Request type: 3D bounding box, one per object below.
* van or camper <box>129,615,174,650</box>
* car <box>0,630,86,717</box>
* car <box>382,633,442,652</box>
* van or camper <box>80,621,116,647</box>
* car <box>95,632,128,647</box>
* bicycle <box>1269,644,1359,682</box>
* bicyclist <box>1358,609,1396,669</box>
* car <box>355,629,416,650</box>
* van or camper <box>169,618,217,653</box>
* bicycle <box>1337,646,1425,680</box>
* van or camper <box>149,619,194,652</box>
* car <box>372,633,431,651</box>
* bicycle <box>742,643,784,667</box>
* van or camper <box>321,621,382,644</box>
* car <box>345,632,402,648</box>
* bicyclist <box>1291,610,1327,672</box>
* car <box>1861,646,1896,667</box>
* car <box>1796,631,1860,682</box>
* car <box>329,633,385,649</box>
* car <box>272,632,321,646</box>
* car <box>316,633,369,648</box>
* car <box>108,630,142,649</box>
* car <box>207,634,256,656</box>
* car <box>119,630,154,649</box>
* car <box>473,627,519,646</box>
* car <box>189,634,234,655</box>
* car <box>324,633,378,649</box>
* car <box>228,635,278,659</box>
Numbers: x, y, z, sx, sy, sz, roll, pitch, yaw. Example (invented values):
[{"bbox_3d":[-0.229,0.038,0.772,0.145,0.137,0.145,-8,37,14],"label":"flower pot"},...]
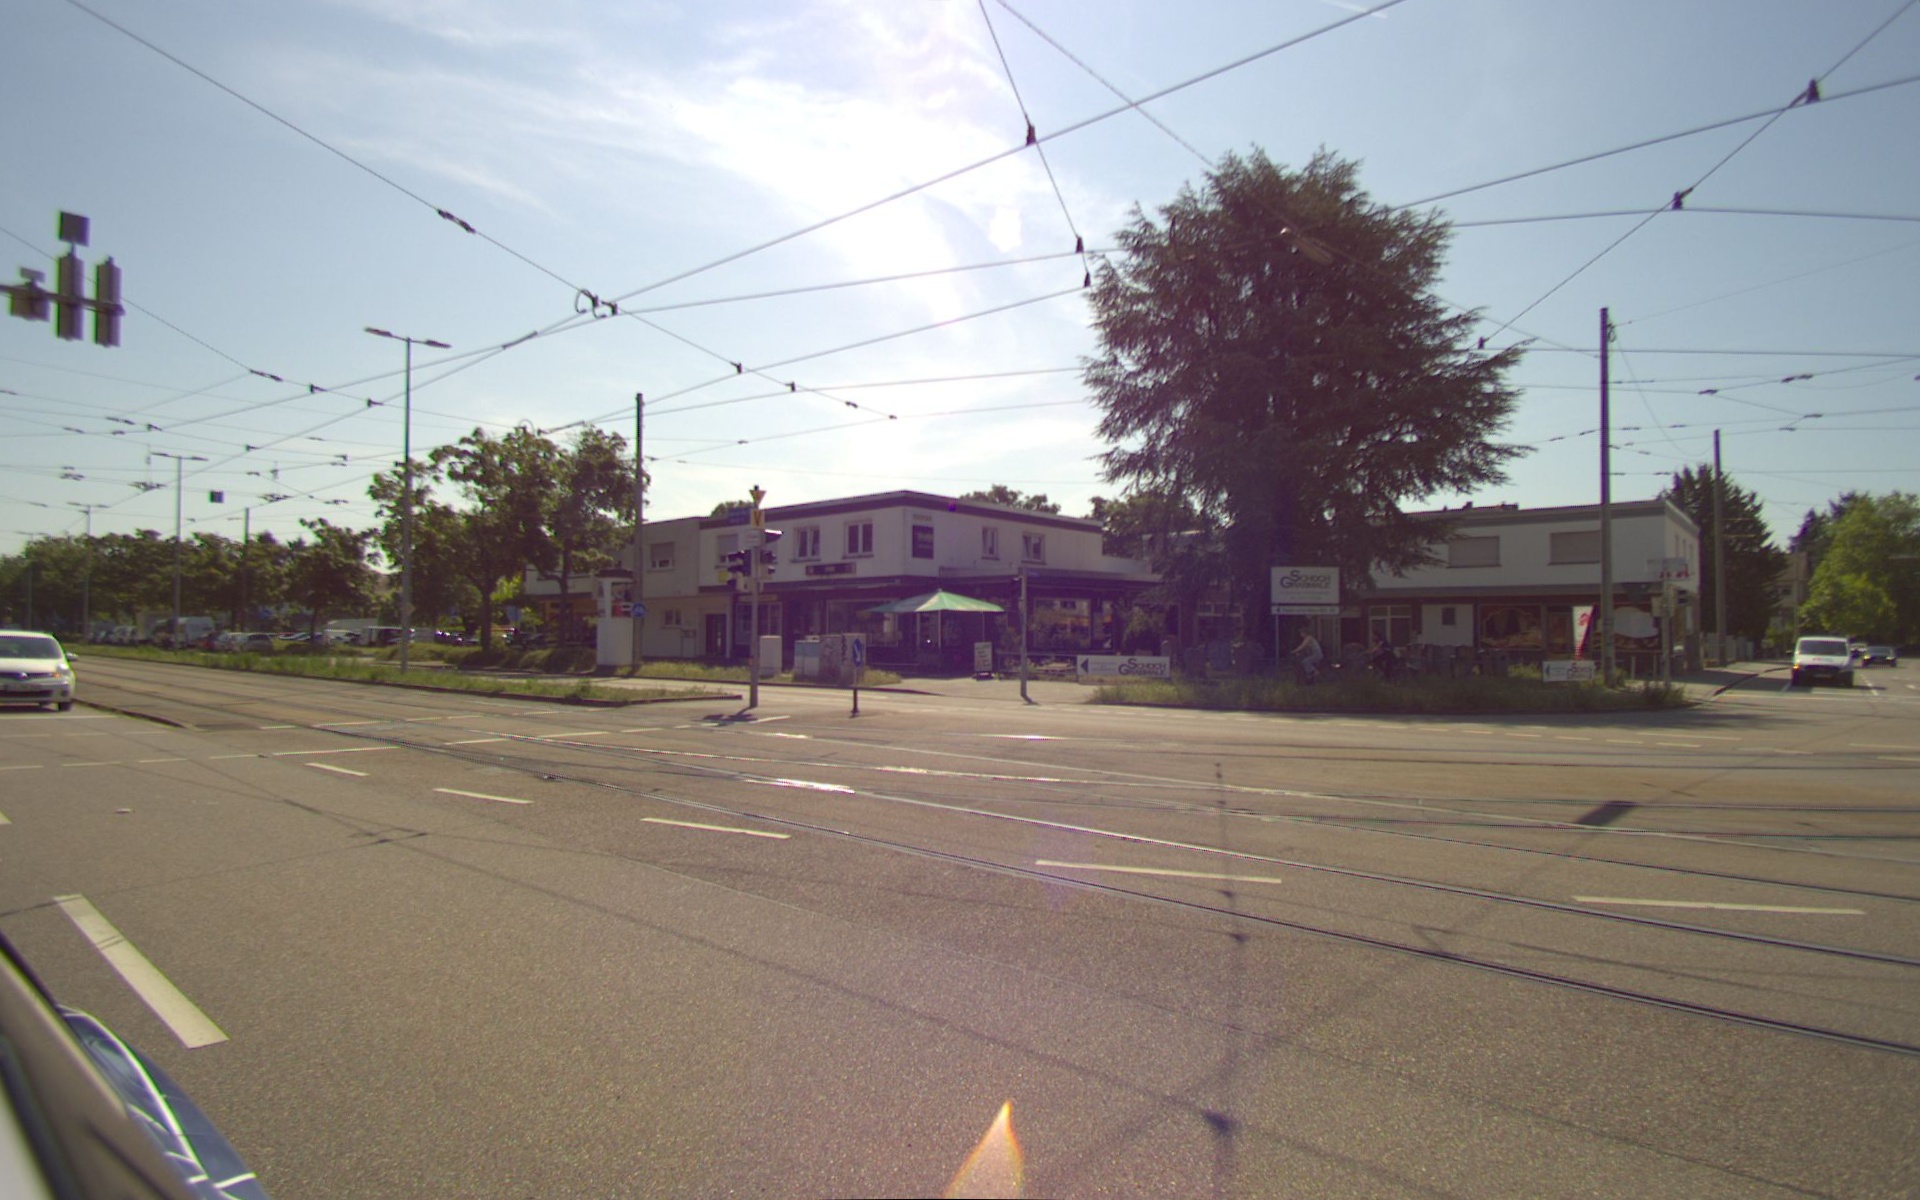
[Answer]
[{"bbox_3d":[-70.966,2.860,88.788,5.279,3.008,2.100,-2,-3,41],"label":"van or camper"},{"bbox_3d":[-18.614,1.384,19.781,4.066,1.573,1.747,-2,-4,42],"label":"car"},{"bbox_3d":[-40.942,3.176,75.695,1.711,1.372,3.578,-2,-3,40],"label":"car"},{"bbox_3d":[-91.545,3.621,107.478,5.451,2.639,2.086,-1,-4,42],"label":"van or camper"},{"bbox_3d":[-86.642,4.037,103.323,4.230,1.572,1.868,-2,-3,41],"label":"car"},{"bbox_3d":[9.203,1.641,26.358,2.110,0.954,0.534,0,-2,7],"label":"bicycle"},{"bbox_3d":[11.279,1.057,27.395,0.756,1.587,0.631,0,-2,4],"label":"bicyclist"},{"bbox_3d":[-44.872,3.073,79.122,1.949,1.581,3.702,-2,-3,40],"label":"car"},{"bbox_3d":[-59.781,2.803,78.872,4.837,2.652,2.013,-2,-3,41],"label":"van or camper"},{"bbox_3d":[11.367,1.698,27.339,2.106,0.897,0.576,0,-2,1],"label":"bicycle"},{"bbox_3d":[-65.104,2.910,83.498,4.837,2.652,2.013,-2,-3,41],"label":"van or camper"},{"bbox_3d":[-42.867,3.230,77.661,1.711,1.372,3.578,-2,-3,40],"label":"car"},{"bbox_3d":[-8.506,2.356,43.660,1.910,0.991,0.750,-2,-3,42],"label":"bicycle"},{"bbox_3d":[-74.941,4.071,124.656,2.300,2.751,5.999,-2,-3,44],"label":"van or camper"},{"bbox_3d":[-46.666,3.190,80.598,1.711,1.294,3.578,-2,-3,40],"label":"car"},{"bbox_3d":[9.091,1.071,26.396,0.757,1.570,0.630,1,-3,8],"label":"bicyclist"},{"bbox_3d":[64.651,3.962,71.280,1.757,1.452,3.944,-2,-3,41],"label":"car"},{"bbox_3d":[33.927,2.187,39.543,1.776,1.876,4.595,-2,-3,41],"label":"car"},{"bbox_3d":[-50.526,3.447,84.827,1.811,1.291,3.578,-2,-3,40],"label":"car"},{"bbox_3d":[-64.574,3.805,98.519,1.711,1.291,3.578,-2,-3,40],"label":"car"},{"bbox_3d":[-54.029,3.557,88.574,1.711,1.291,3.578,-2,-3,40],"label":"car"},{"bbox_3d":[-82.155,3.875,99.569,4.230,1.781,1.868,-2,-3,41],"label":"car"},{"bbox_3d":[-51.720,3.177,71.849,4.283,1.572,1.868,-2,-3,41],"label":"car"},{"bbox_3d":[-77.131,3.724,94.781,4.230,1.748,1.868,-2,-3,41],"label":"car"},{"bbox_3d":[-43.680,3.466,95.341,1.711,1.791,3.578,-2,-3,40],"label":"car"},{"bbox_3d":[-56.032,3.339,75.721,4.230,1.506,1.868,-2,-3,41],"label":"car"},{"bbox_3d":[-52.212,3.509,86.830,1.711,1.291,3.578,-2,-3,40],"label":"car"},{"bbox_3d":[-47.732,3.158,68.278,4.285,1.506,1.867,-2,0,43],"label":"car"}]
